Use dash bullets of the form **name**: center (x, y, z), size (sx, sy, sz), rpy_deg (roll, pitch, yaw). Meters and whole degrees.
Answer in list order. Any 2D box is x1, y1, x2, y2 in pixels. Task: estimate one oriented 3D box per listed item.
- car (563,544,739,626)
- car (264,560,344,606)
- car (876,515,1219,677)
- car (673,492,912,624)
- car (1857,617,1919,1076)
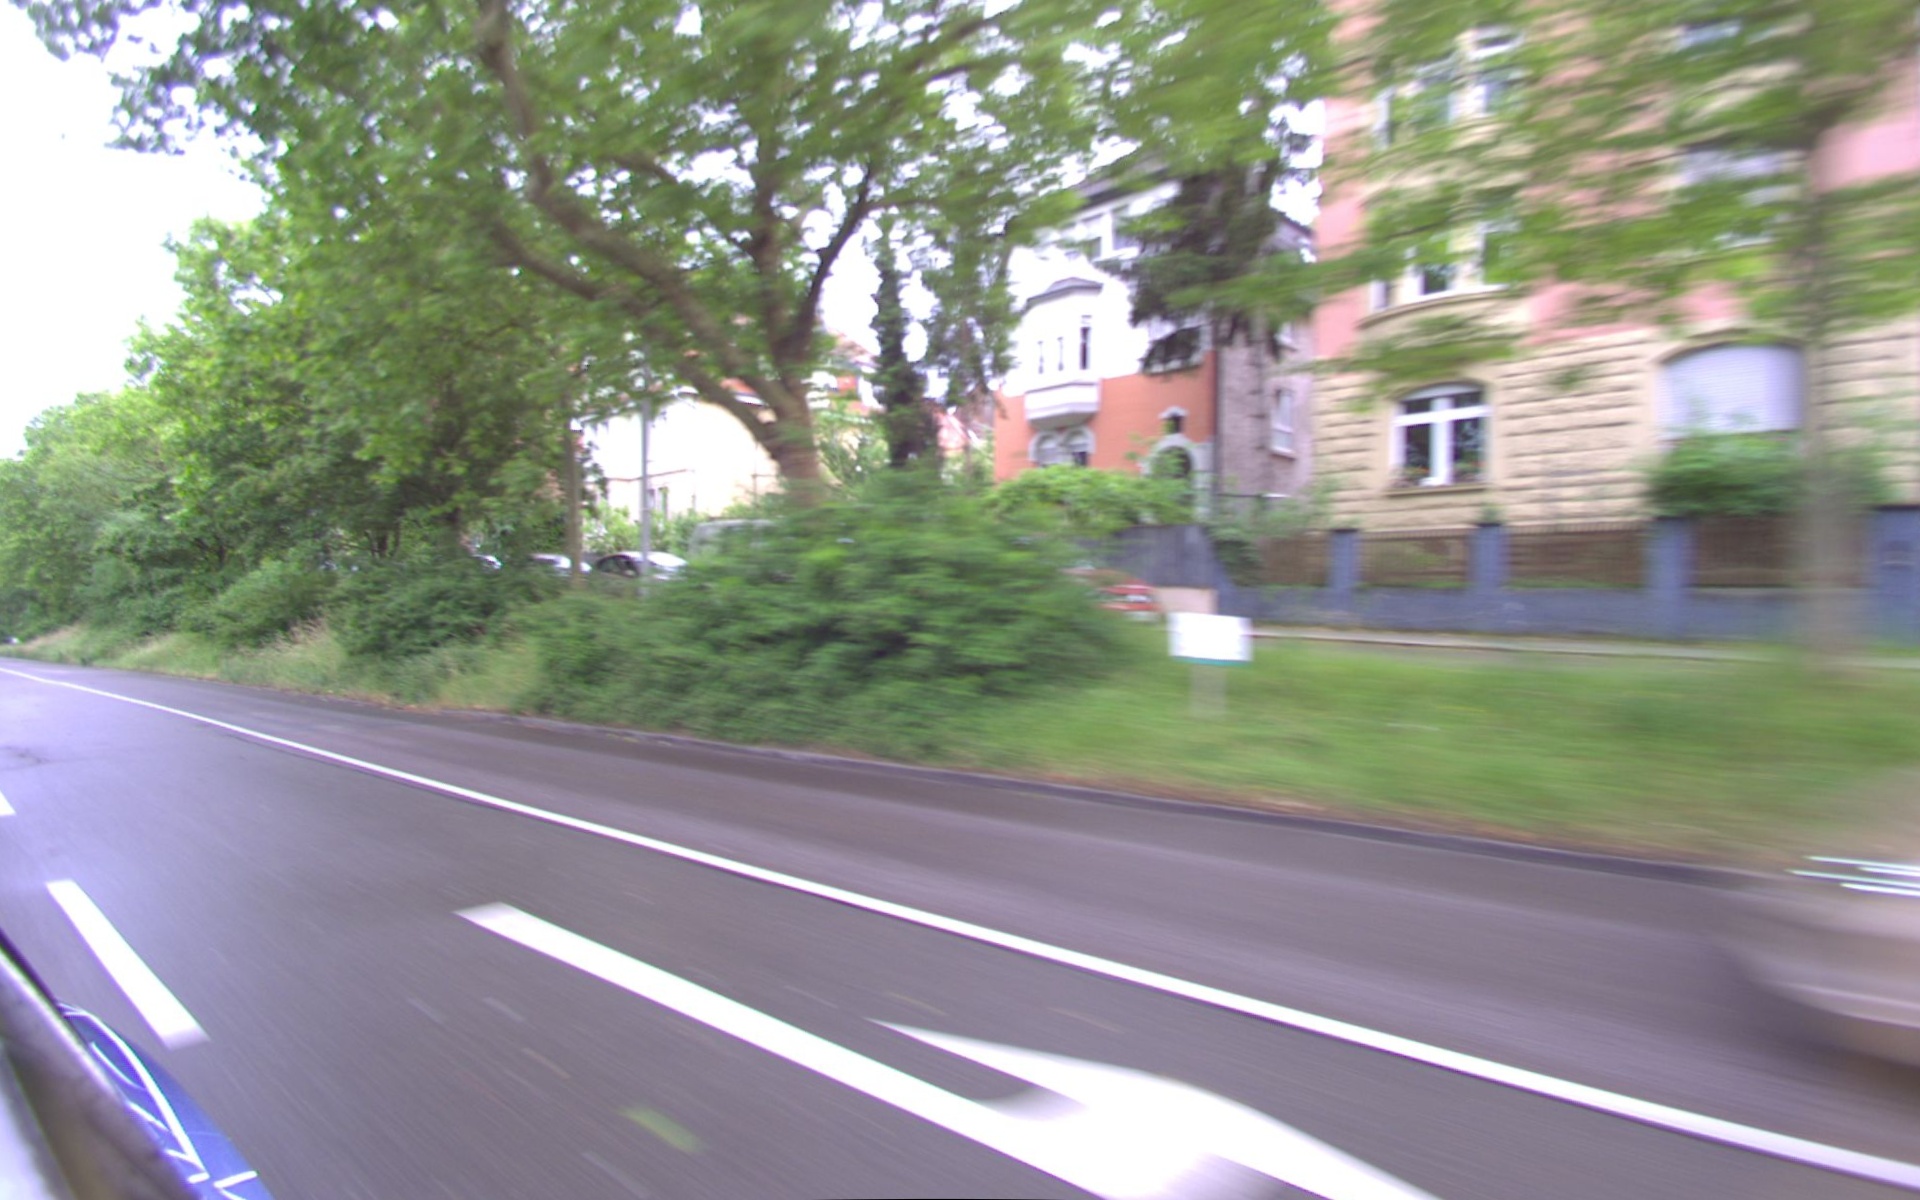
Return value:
- **car**: center (-6.918, -0.268, 22.361), size (1.809, 1.569, 4.631), rpy_deg (-1, -1, -44)
- **car**: center (-25.527, -0.638, 39.307), size (1.809, 1.569, 4.289), rpy_deg (-1, -1, -44)
- **car**: center (1.025, 0.008, 13.949), size (1.809, 1.857, 4.631), rpy_deg (-1, -1, -44)
- **car**: center (-3.152, -0.639, 18.330), size (1.970, 2.029, 4.631), rpy_deg (-1, -1, -44)
- **car**: center (5.024, 0.694, 1.988), size (4.707, 1.363, 2.051), rpy_deg (-2, -1, 38)
